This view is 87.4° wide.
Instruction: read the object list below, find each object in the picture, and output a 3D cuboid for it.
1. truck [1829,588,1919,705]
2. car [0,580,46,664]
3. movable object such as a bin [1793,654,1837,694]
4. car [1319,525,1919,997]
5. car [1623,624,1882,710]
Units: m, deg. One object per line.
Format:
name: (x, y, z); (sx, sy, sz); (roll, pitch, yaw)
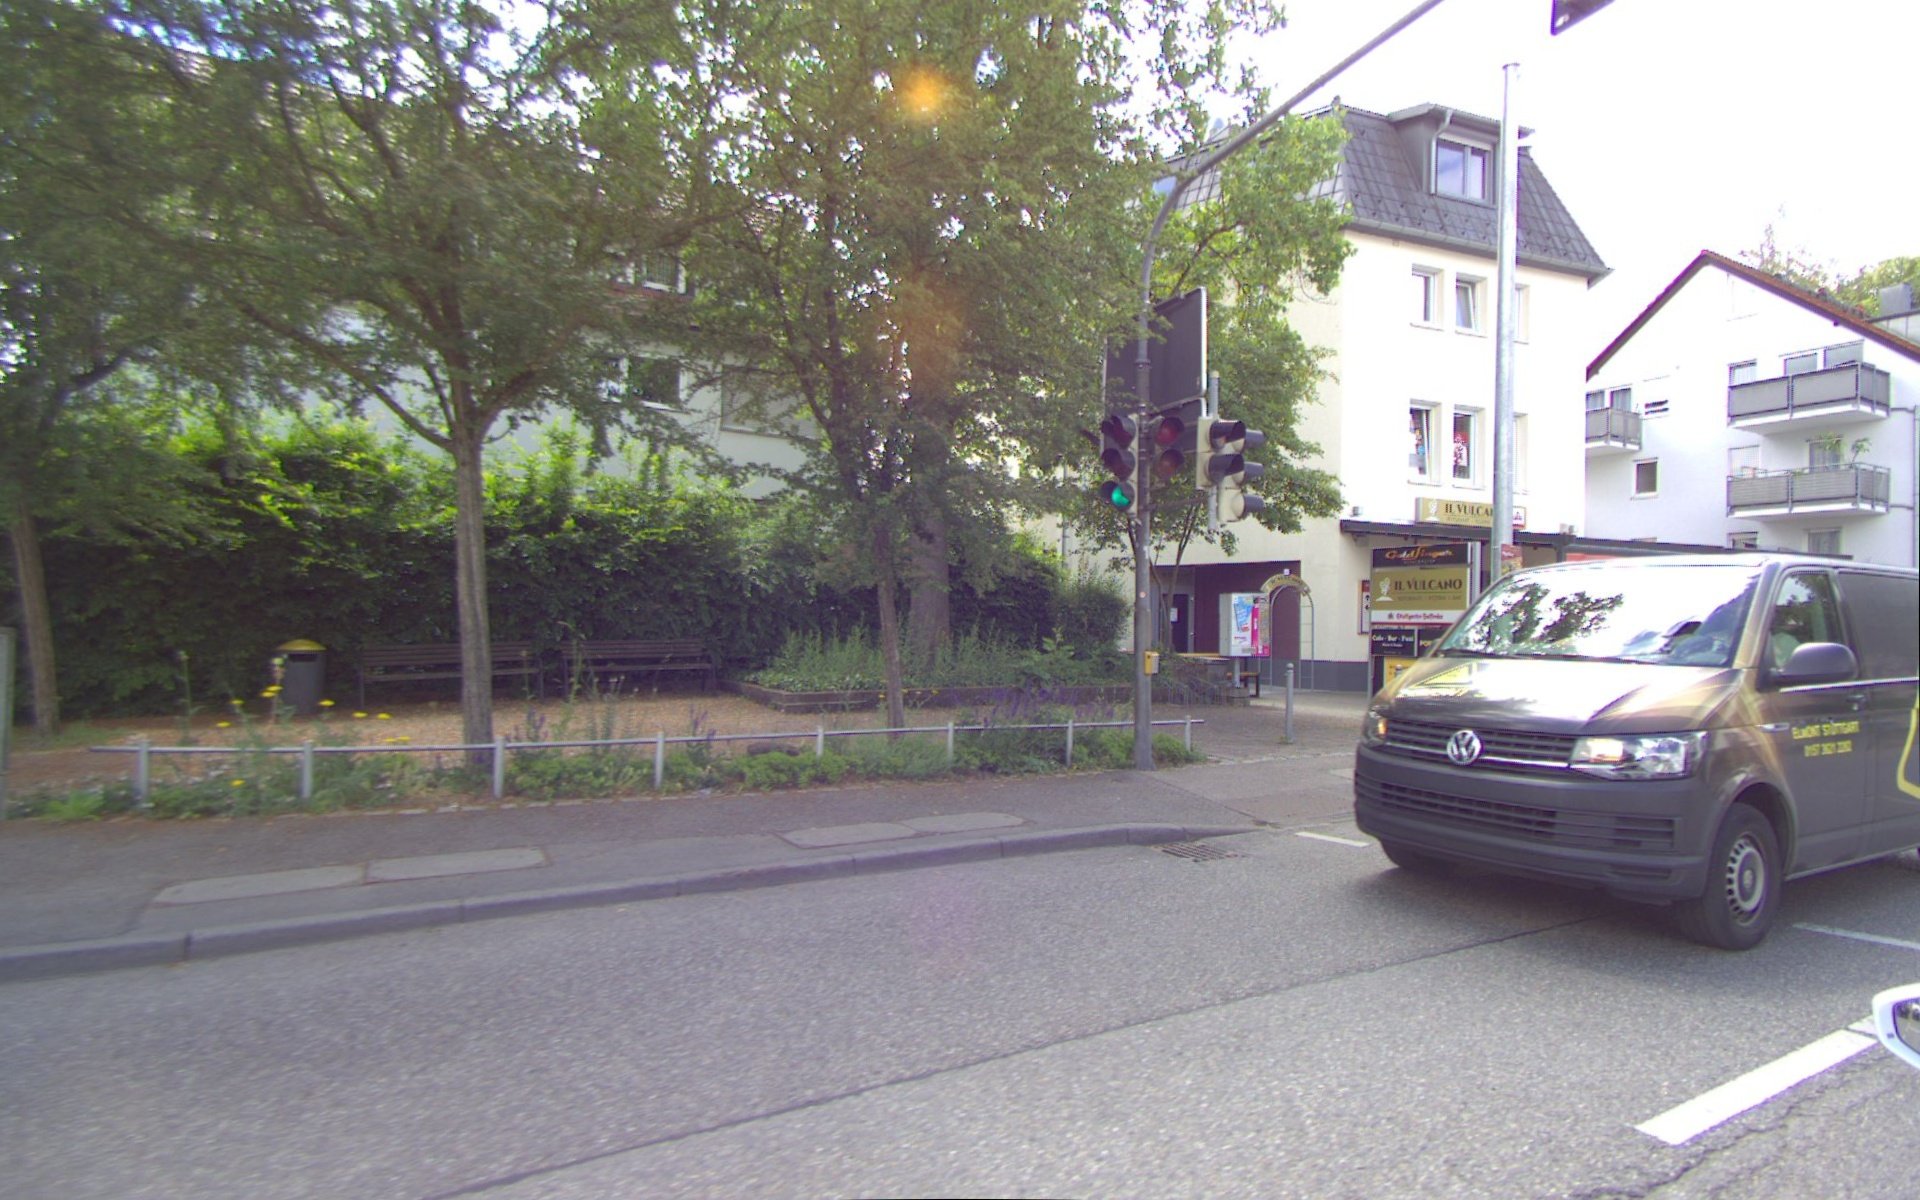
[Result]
truck: (22.408, 1.062, 22.538); (6.244, 2.411, 2.216); (2, -1, -27)
car: (-19.710, 0.395, 19.596); (2.016, 1.597, 4.122); (1, 0, -32)
movable object such as a bin: (24.998, 2.160, 29.370); (0.696, 1.115, 0.736); (2, -1, -25)
car: (4.541, 0.707, 6.158); (4.698, 1.938, 1.867); (1, 0, -31)
car: (15.595, 1.248, 19.942); (1.785, 1.444, 3.671); (1, 0, -32)
